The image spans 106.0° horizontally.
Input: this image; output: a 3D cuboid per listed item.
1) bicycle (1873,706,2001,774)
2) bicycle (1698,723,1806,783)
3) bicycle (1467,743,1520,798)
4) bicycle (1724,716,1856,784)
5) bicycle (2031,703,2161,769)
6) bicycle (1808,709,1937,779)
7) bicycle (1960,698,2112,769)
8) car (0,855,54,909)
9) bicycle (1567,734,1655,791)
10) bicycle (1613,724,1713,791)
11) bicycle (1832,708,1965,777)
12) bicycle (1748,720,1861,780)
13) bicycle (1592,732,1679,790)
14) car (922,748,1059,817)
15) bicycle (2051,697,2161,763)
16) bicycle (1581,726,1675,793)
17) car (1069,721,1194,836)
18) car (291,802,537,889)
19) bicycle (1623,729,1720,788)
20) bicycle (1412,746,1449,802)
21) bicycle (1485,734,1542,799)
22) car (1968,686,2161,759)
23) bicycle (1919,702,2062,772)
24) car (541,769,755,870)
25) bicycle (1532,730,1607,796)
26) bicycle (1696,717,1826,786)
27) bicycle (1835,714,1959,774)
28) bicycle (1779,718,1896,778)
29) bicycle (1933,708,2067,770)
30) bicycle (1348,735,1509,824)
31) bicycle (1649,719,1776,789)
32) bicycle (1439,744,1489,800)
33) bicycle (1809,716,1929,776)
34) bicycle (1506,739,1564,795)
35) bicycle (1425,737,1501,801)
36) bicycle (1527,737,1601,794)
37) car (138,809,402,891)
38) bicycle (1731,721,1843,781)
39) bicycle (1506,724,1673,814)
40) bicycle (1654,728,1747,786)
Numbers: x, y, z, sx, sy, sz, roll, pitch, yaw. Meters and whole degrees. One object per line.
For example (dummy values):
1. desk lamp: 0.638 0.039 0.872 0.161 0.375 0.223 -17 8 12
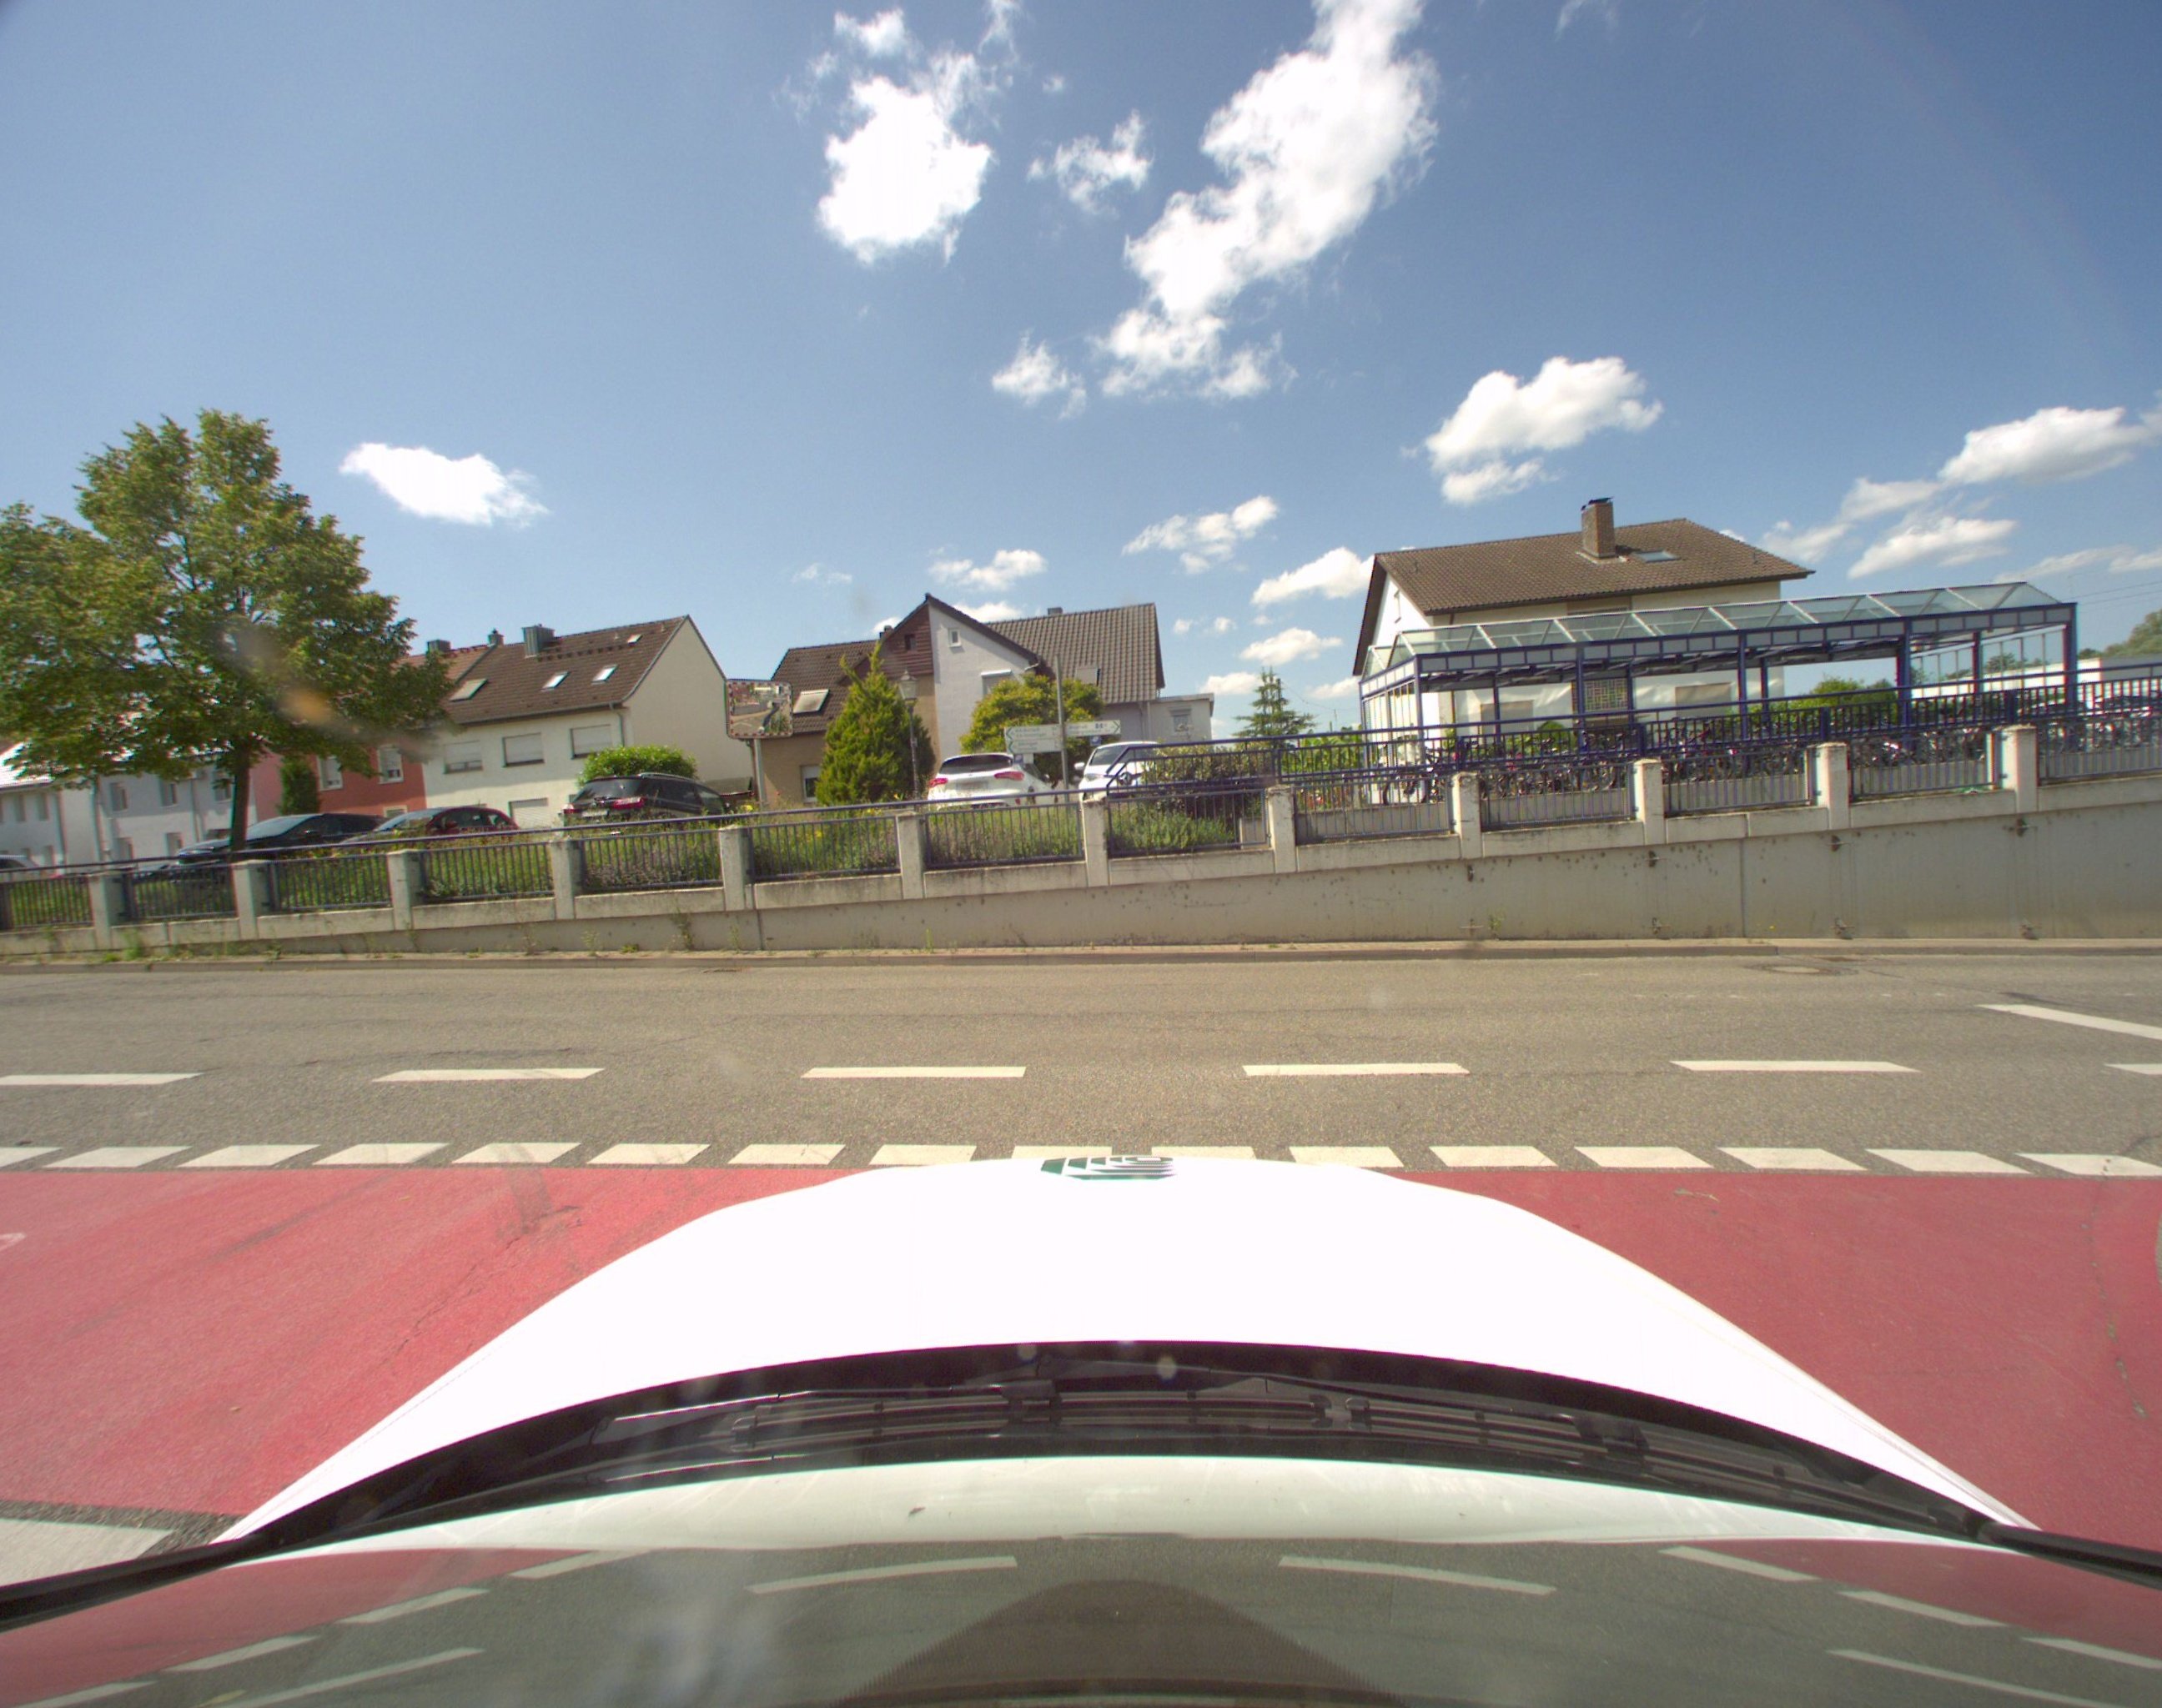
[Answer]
1. bicycle: 14.900 -1.946 14.252 0.512 0.994 2.047 -3 3 14
2. bicycle: 13.097 -1.942 15.965 0.517 0.994 1.967 -3 3 1
3. bicycle: 8.304 -1.657 16.459 0.370 0.994 1.972 -3 3 10
4. bicycle: 12.482 -1.799 14.431 0.530 0.994 2.191 -3 3 4
5. bicycle: 18.290 -2.071 14.419 0.435 0.994 2.163 -3 3 1
6. bicycle: 13.434 -1.836 13.913 0.574 0.994 2.197 -3 3 15
7. bicycle: 16.445 -2.038 14.100 0.540 0.994 2.046 -3 3 11
8. car: -31.357 0.819 21.892 1.730 1.488 4.272 0 1 13
9. bicycle: 10.500 -1.787 16.215 0.472 0.994 1.967 -3 3 1
10. bicycle: 10.050 -1.631 14.162 0.433 0.994 2.288 -3 3 10
11. bicycle: 14.201 -1.900 14.228 0.512 0.994 2.044 -3 3 9
12. bicycle: 14.398 -2.040 16.277 0.517 0.994 1.967 -3 3 1
13. bicycle: 10.974 -1.816 16.192 0.412 0.994 1.967 -3 3 1
14. car: -1.575 -1.274 15.357 1.815 1.019 3.466 0 1 7
15. bicycle: 18.372 -2.167 14.235 0.541 0.994 2.042 -3 3 5
16. bicycle: 9.471 -1.596 14.205 0.433 0.994 2.288 -3 3 10
17. car: 1.052 -1.242 15.104 1.983 1.797 4.205 0 1 7
18. car: -13.503 -0.184 16.808 1.857 1.586 3.617 0 1 7
19. bicycle: 11.688 -1.863 16.208 0.517 0.994 1.967 -3 3 1
20. bicycle: 6.836 -1.541 15.969 0.451 0.994 1.897 -3 3 18
21. bicycle: 7.322 -1.442 13.863 0.432 0.994 2.112 -3 3 17
22. car: 29.853 -3.892 24.456 1.989 1.677 3.997 -4 3 -3
23. bicycle: 15.629 -1.984 14.076 0.512 0.994 2.046 -3 3 11
24. car: -8.541 -0.647 16.540 1.857 1.797 4.008 0 1 7
25. bicycle: 8.350 -1.514 14.000 0.432 0.994 2.110 -3 3 13
26. bicycle: 11.786 -1.745 14.220 0.530 0.994 2.191 -3 3 4
27. bicycle: 16.139 -2.146 16.175 0.517 0.994 1.967 -3 3 1
28. bicycle: 15.006 -2.076 16.224 0.517 0.994 1.967 -3 3 1
29. bicycle: 17.977 -2.223 16.004 0.541 0.994 2.044 -3 3 8
30. bicycle: 4.931 -1.054 11.588 2.108 1.125 0.333 -4 2 0
31. bicycle: 10.808 -1.674 14.047 0.530 0.994 2.284 -3 3 4
32. bicycle: 7.531 -1.591 16.086 0.370 0.994 1.972 -3 3 10
33. bicycle: 15.591 -2.112 16.184 0.517 0.994 1.967 -3 3 1
34. bicycle: 9.020 -1.693 16.239 0.370 0.994 1.972 -3 3 10
35. bicycle: 6.672 -1.455 14.325 0.331 0.994 2.076 -3 3 1
36. bicycle: 9.663 -1.740 16.371 0.424 0.994 1.969 -3 3 4
37. car: -17.221 -0.101 17.565 1.857 1.586 3.617 0 1 7
38. bicycle: 13.830 -1.992 16.028 0.517 0.994 1.967 -3 3 1
39. bicycle: 7.227 -1.202 11.598 2.108 1.125 0.392 -4 2 0
40. bicycle: 12.362 -1.911 16.320 0.517 0.994 1.802 -3 3 1
